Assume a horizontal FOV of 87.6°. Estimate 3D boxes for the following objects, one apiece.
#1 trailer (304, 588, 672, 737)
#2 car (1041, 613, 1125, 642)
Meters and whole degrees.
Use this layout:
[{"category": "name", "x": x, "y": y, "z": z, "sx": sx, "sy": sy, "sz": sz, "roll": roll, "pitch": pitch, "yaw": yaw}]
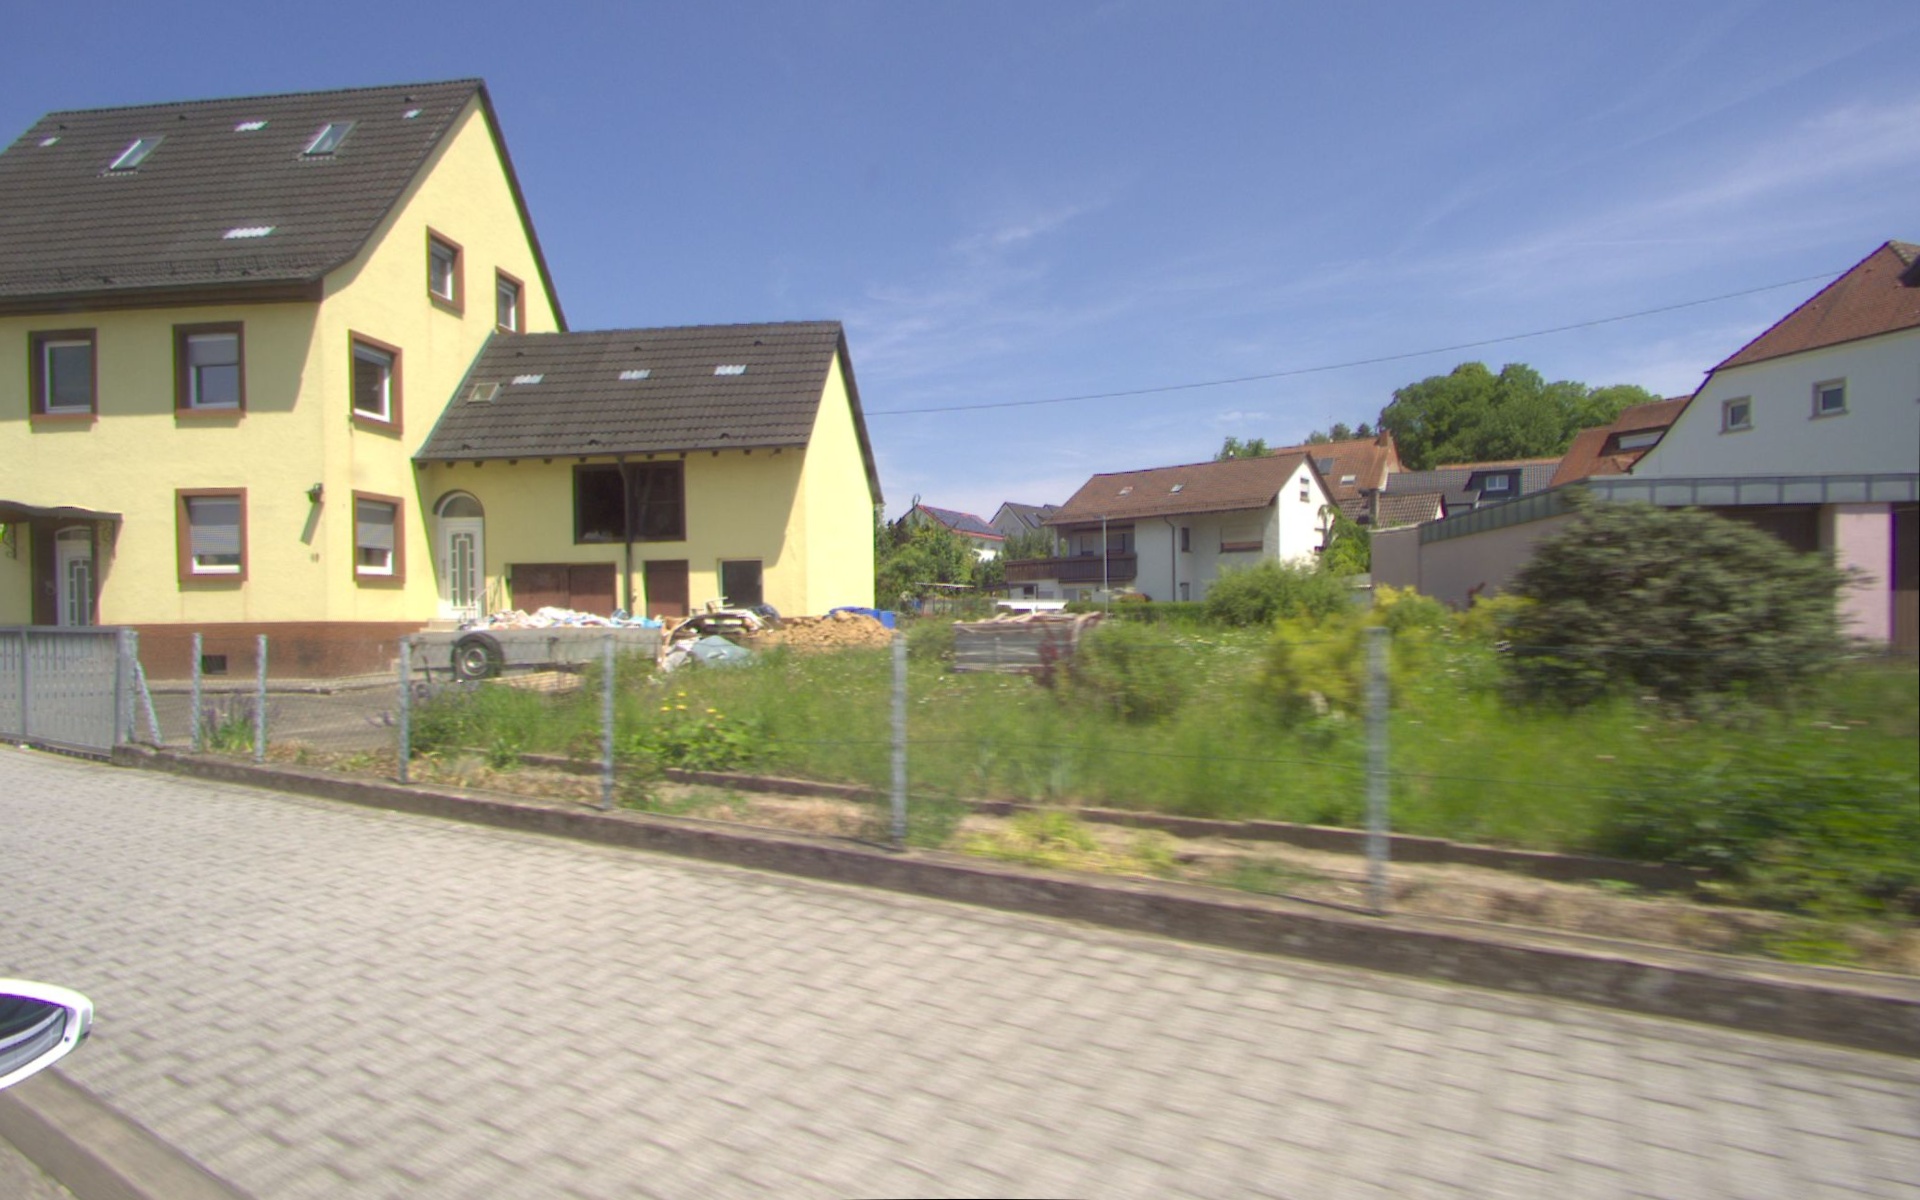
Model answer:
[{"category": "trailer", "x": -5.779, "y": 0.741, "z": 13.275, "sx": 2.097, "sy": 1.566, "sz": 5.366, "roll": -1, "pitch": -2, "yaw": 3}, {"category": "car", "x": 5.995, "y": 1.342, "z": 49.088, "sx": 1.647, "sy": 1.380, "sz": 3.964, "roll": 0, "pitch": -1, "yaw": -42}]
